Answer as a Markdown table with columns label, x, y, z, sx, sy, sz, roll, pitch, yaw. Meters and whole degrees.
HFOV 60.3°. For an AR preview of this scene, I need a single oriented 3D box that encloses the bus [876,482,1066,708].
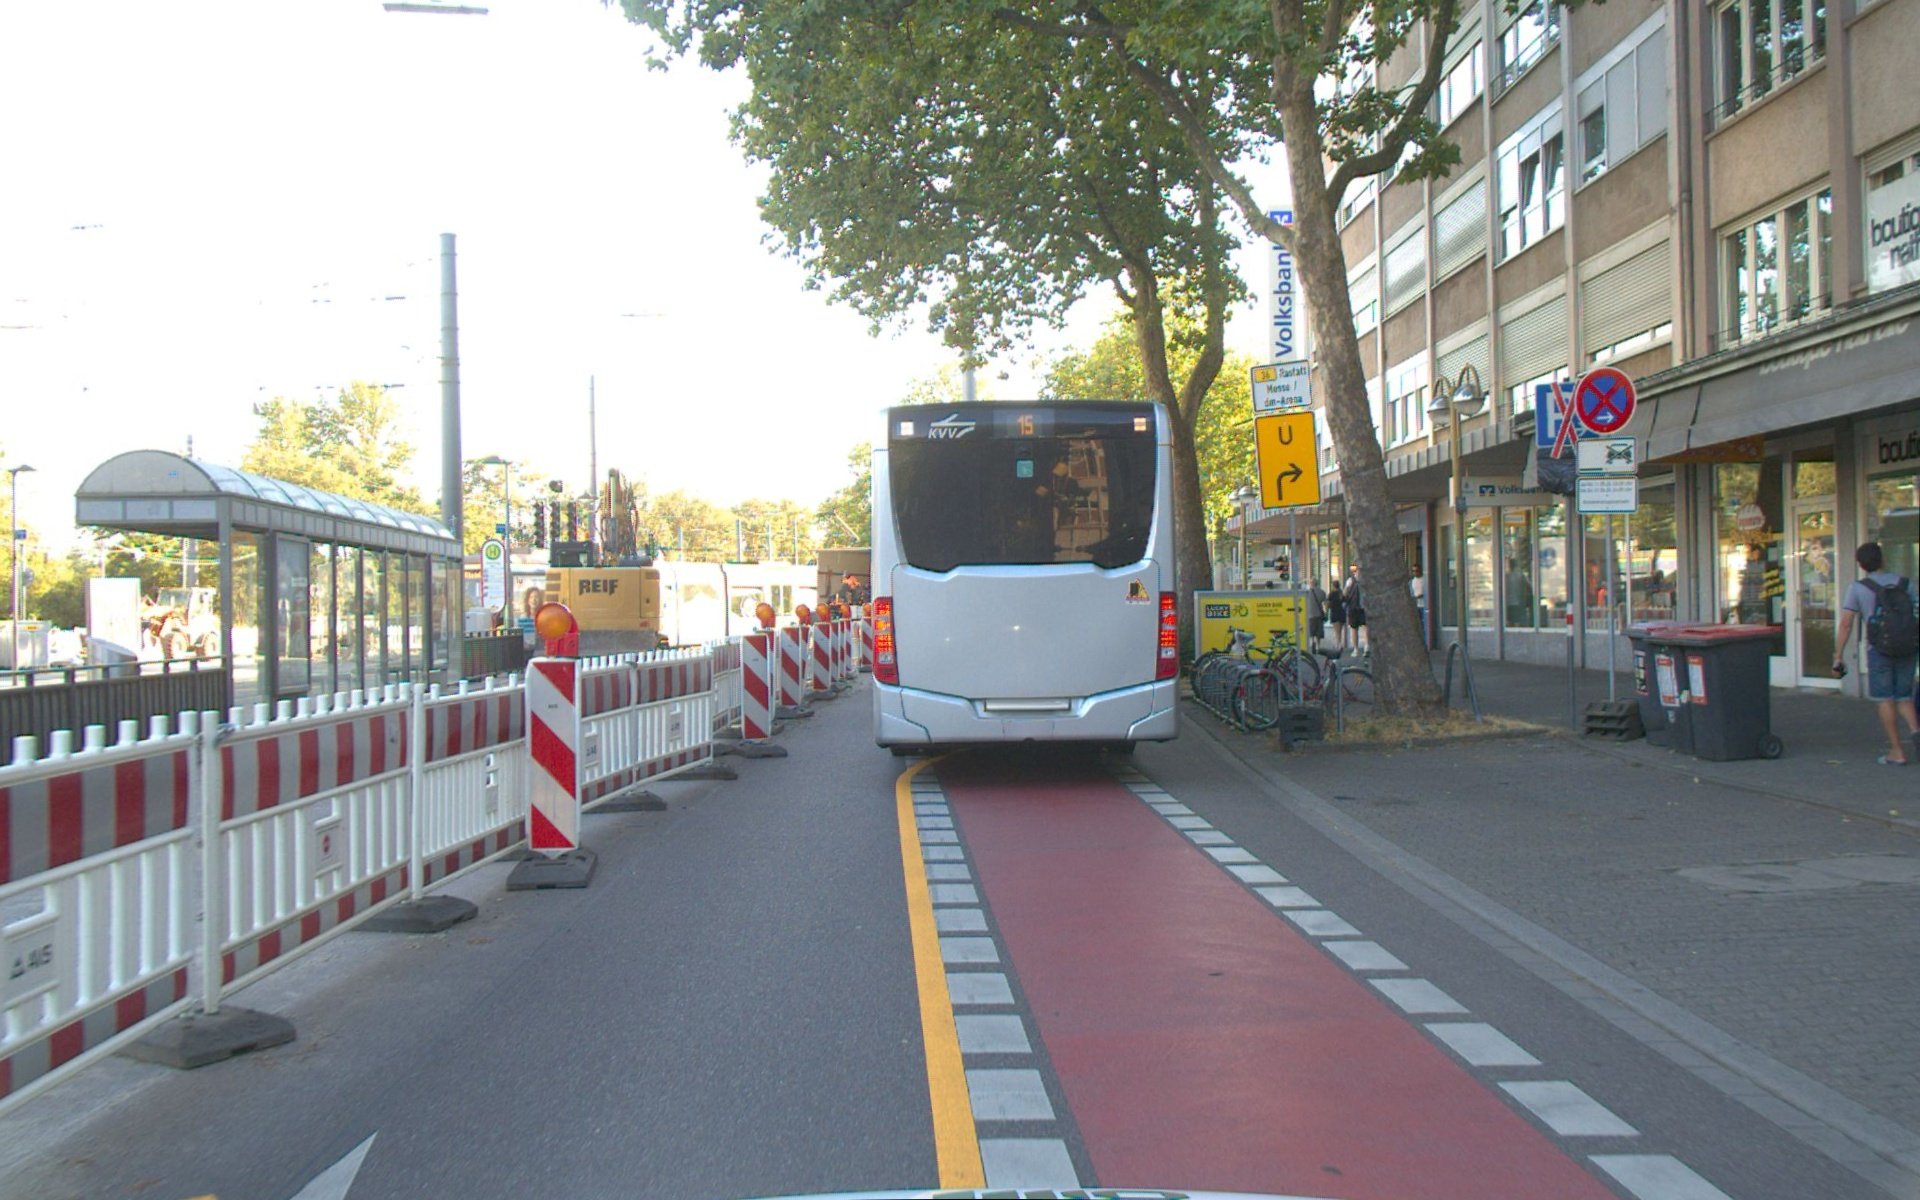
| label | x | y | z | sx | sy | sz | roll | pitch | yaw |
| --- | --- | --- | --- | --- | --- | --- | --- | --- | --- |
| bus | 0.007 | -0.063 | 27.963 | 2.654 | 3.161 | 8.976 | -1 | 0 | -2 |

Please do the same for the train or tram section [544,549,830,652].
| label | x | y | z | sx | sy | sz | roll | pitch | yaw |
| --- | --- | --- | --- | --- | --- | --- | --- | --- | --- |
| train or tram section | -10.170 | 0.068 | 64.150 | 2.798 | 3.595 | 13.360 | -1 | -1 | 32 |

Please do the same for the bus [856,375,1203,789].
| label | x | y | z | sx | sy | sz | roll | pitch | yaw |
| --- | --- | --- | --- | --- | --- | --- | --- | --- | --- |
| bus | 0.360 | -0.148 | 18.192 | 2.678 | 3.194 | 10.698 | 0 | 0 | -2 |

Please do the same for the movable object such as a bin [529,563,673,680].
| label | x | y | z | sx | sy | sz | roll | pitch | yaw |
| --- | --- | --- | --- | --- | --- | --- | --- | --- | --- |
| movable object such as a bin | -7.732 | 0.434 | 36.152 | 2.593 | 2.358 | 4.894 | -1 | 0 | -7 |

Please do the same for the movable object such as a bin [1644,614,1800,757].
| label | x | y | z | sx | sy | sz | roll | pitch | yaw |
| --- | --- | --- | --- | --- | --- | --- | --- | --- | --- |
| movable object such as a bin | 6.332 | 0.688 | 13.802 | 0.660 | 1.094 | 1.227 | -4 | 0 | -1 |

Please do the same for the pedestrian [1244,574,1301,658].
| label | x | y | z | sx | sy | sz | roll | pitch | yaw |
| --- | --- | --- | --- | --- | --- | --- | --- | --- | --- |
| pedestrian | 6.854 | 0.348 | 36.321 | 0.881 | 1.739 | 1.070 | -5 | 0 | -2 |

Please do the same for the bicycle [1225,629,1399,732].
| label | x | y | z | sx | sy | sz | roll | pitch | yaw |
| --- | --- | --- | --- | --- | --- | --- | --- | --- | --- |
| bicycle | 3.909 | 0.882 | 18.433 | 1.754 | 1.040 | 0.643 | -2 | 0 | -4 |

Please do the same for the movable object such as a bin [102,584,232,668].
| label | x | y | z | sx | sy | sz | roll | pitch | yaw |
| --- | --- | --- | --- | --- | --- | --- | --- | --- | --- |
| movable object such as a bin | -26.662 | 0.849 | 55.803 | 2.107 | 2.685 | 4.599 | -1 | 0 | 0 |

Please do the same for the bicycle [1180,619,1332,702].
| label | x | y | z | sx | sy | sz | roll | pitch | yaw |
| --- | --- | --- | --- | --- | --- | --- | --- | --- | --- |
| bicycle | 4.178 | 0.846 | 23.423 | 1.948 | 1.077 | 0.770 | -2 | -1 | -4 |

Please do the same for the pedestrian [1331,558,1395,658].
| label | x | y | z | sx | sy | sz | roll | pitch | yaw |
| --- | --- | --- | --- | --- | --- | --- | --- | --- | --- |
| pedestrian | 8.093 | 0.159 | 33.247 | 0.821 | 1.901 | 1.099 | -5 | 0 | -2 |

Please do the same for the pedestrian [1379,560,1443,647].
| label | x | y | z | sx | sy | sz | roll | pitch | yaw |
| --- | --- | --- | --- | --- | --- | --- | --- | --- | --- |
| pedestrian | 9.570 | 0.072 | 35.135 | 0.881 | 1.726 | 1.070 | -7 | 0 | -1 |

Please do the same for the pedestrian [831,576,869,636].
| label | x | y | z | sx | sy | sz | roll | pitch | yaw |
| --- | --- | --- | --- | --- | --- | --- | --- | --- | --- |
| pedestrian | -3.825 | 0.193 | 57.414 | 0.917 | 2.048 | 1.001 | -1 | 1 | 23 |

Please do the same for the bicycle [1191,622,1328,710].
| label | x | y | z | sx | sy | sz | roll | pitch | yaw |
| --- | --- | --- | --- | --- | --- | --- | --- | --- | --- |
| bicycle | 3.973 | 0.872 | 22.015 | 1.678 | 1.077 | 0.644 | -2 | 0 | 0 |

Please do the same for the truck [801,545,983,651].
| label | x | y | z | sx | sy | sz | roll | pitch | yaw |
| --- | --- | --- | --- | --- | --- | --- | --- | --- | --- |
| truck | -2.303 | -0.061 | 60.722 | 2.756 | 3.603 | 8.976 | -1 | 0 | 26 |

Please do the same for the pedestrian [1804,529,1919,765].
| label | x | y | z | sx | sy | sz | roll | pitch | yaw |
| --- | --- | --- | --- | --- | --- | --- | --- | --- | --- |
| pedestrian | 7.111 | 0.333 | 12.540 | 0.826 | 1.702 | 0.990 | -3 | 0 | -2 |

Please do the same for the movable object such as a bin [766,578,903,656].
| label | x | y | z | sx | sy | sz | roll | pitch | yaw |
| --- | --- | --- | --- | --- | --- | --- | --- | --- | --- |
| movable object such as a bin | -3.809 | 0.476 | 51.285 | 1.954 | 2.296 | 5.204 | 0 | 0 | 25 |

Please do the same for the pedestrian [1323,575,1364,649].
| label | x | y | z | sx | sy | sz | roll | pitch | yaw |
| --- | --- | --- | --- | --- | --- | --- | --- | --- | --- |
| pedestrian | 8.559 | 0.255 | 36.948 | 0.620 | 1.601 | 0.774 | -4 | 0 | -2 |

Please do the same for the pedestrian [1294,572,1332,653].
| label | x | y | z | sx | sy | sz | roll | pitch | yaw |
| --- | --- | --- | --- | --- | --- | --- | --- | --- | --- |
| pedestrian | 7.880 | 0.279 | 36.956 | 0.571 | 1.738 | 0.679 | -4 | 0 | -2 |

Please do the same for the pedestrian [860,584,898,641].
| label | x | y | z | sx | sy | sz | roll | pitch | yaw |
| --- | --- | --- | --- | --- | --- | --- | --- | --- | --- |
| pedestrian | -2.617 | 0.395 | 53.684 | 0.952 | 1.829 | 1.070 | 0 | 1 | 16 |
